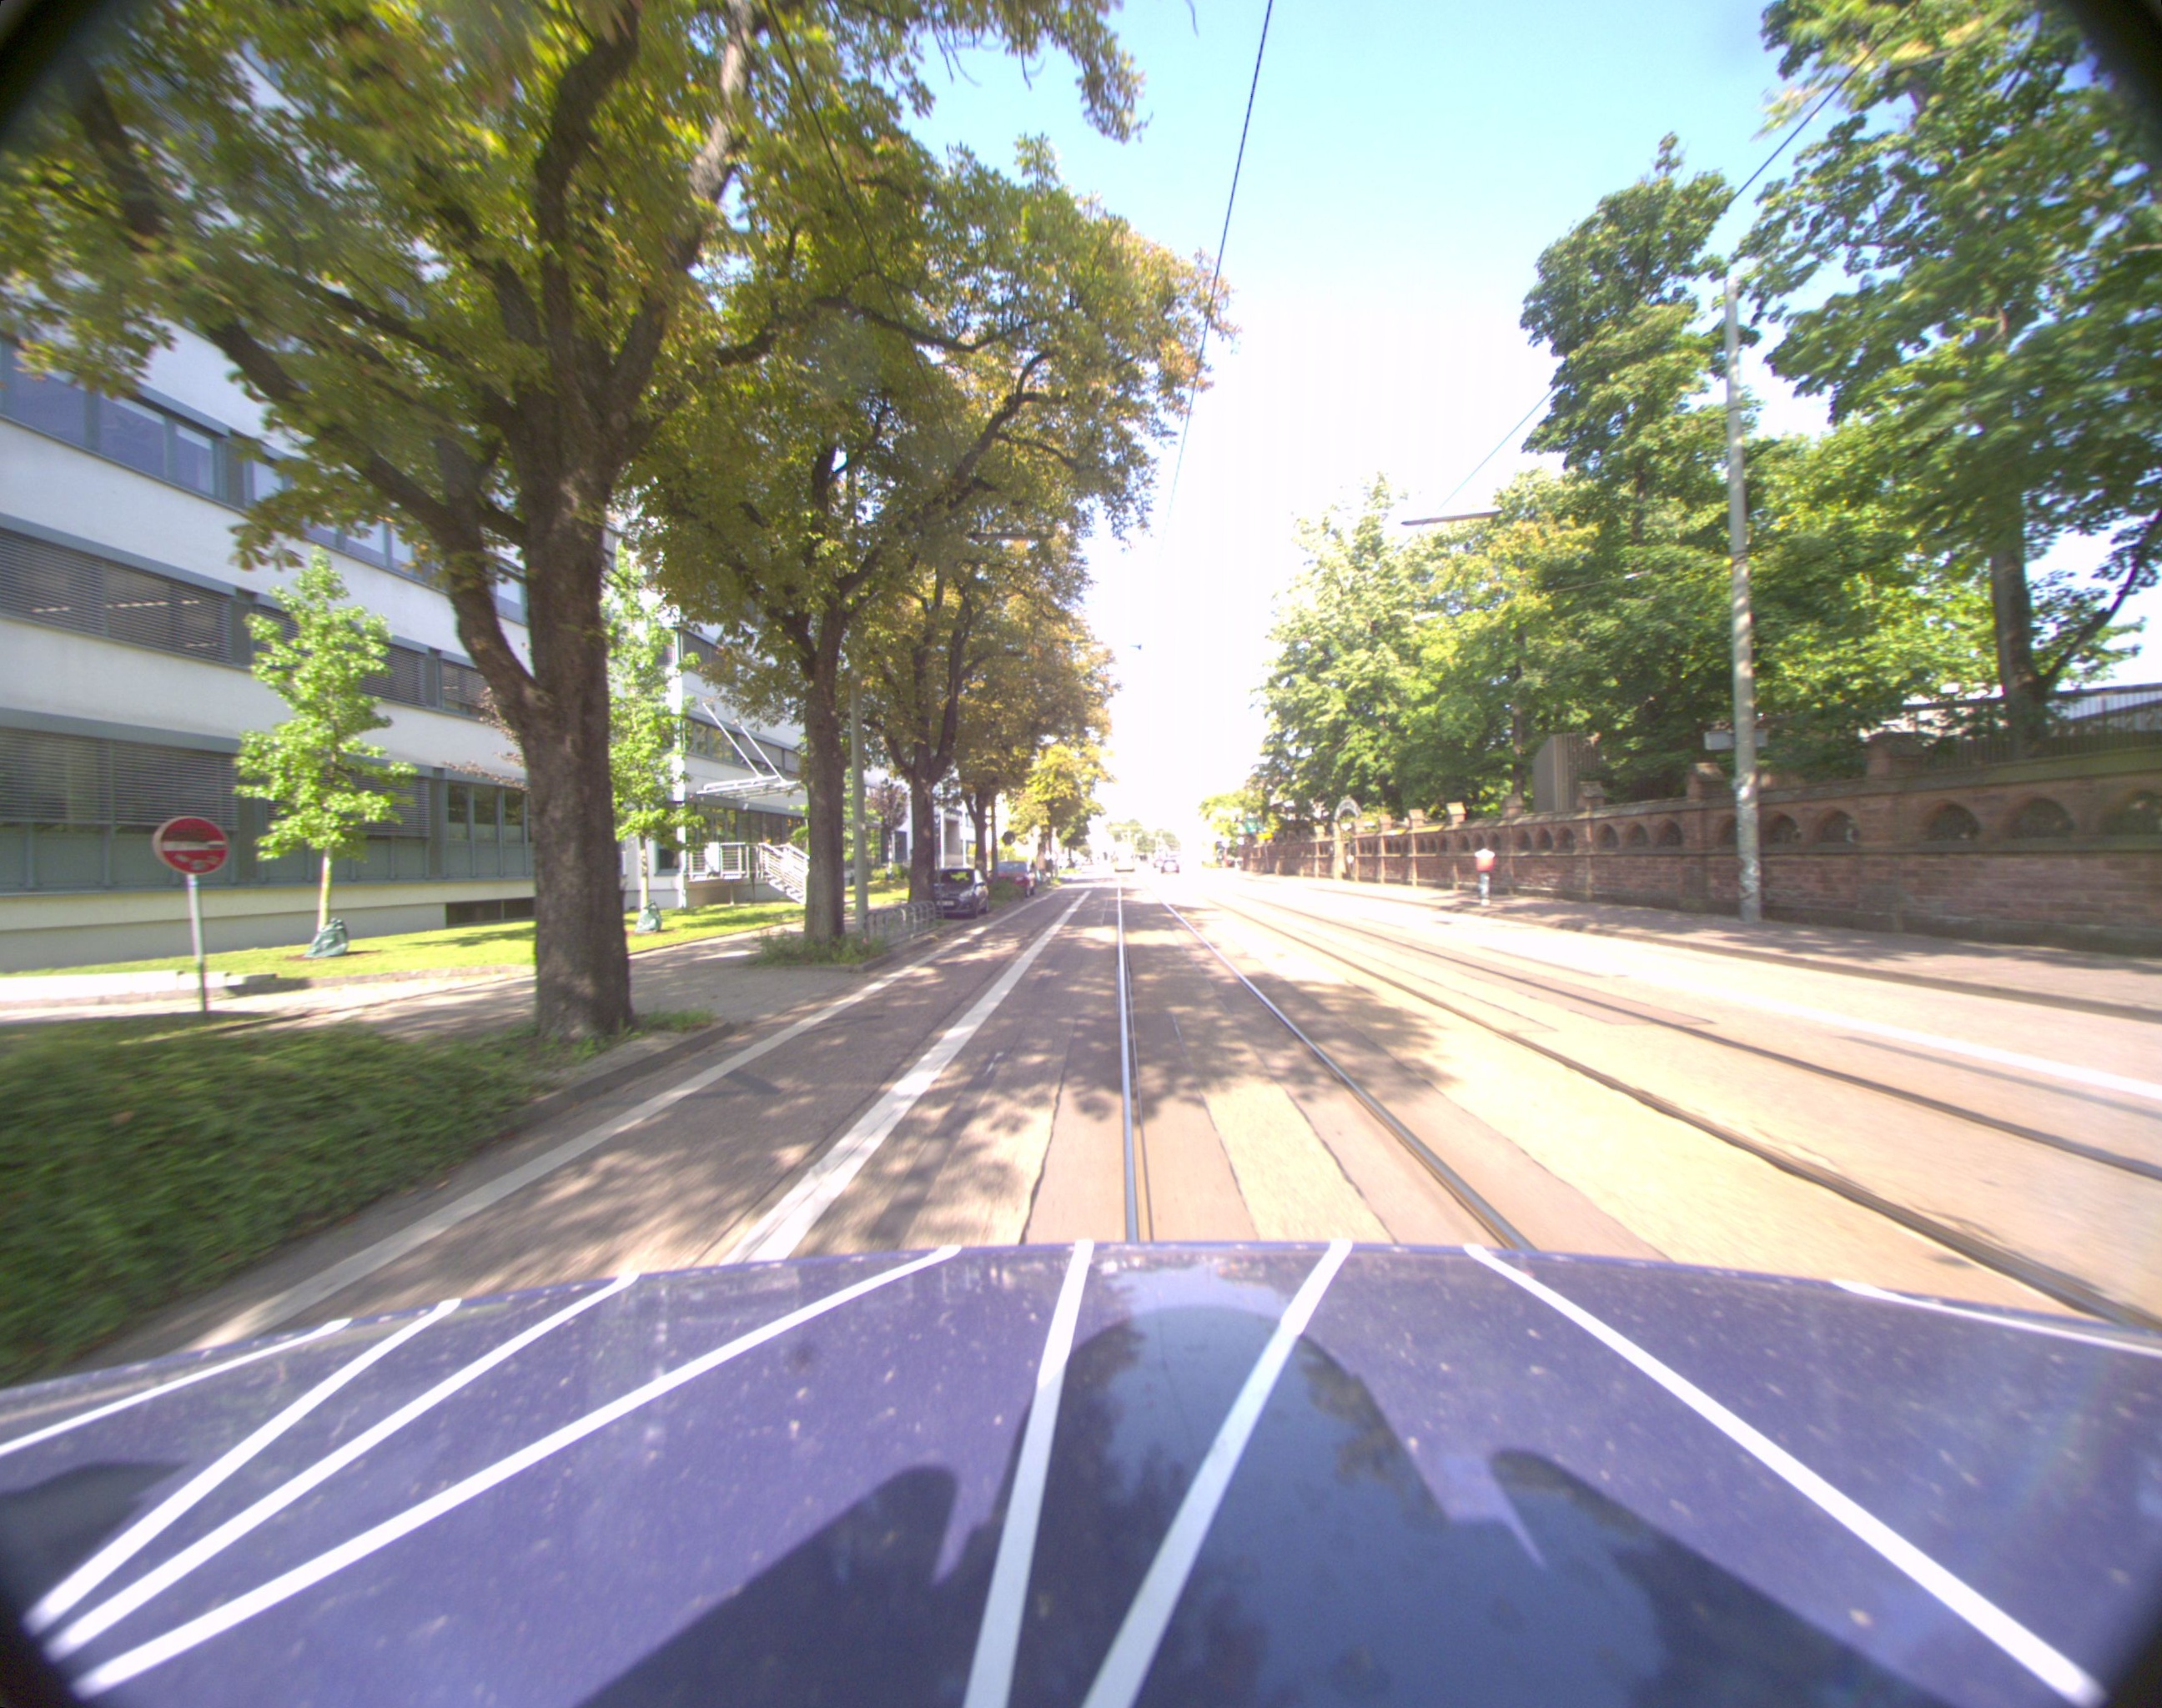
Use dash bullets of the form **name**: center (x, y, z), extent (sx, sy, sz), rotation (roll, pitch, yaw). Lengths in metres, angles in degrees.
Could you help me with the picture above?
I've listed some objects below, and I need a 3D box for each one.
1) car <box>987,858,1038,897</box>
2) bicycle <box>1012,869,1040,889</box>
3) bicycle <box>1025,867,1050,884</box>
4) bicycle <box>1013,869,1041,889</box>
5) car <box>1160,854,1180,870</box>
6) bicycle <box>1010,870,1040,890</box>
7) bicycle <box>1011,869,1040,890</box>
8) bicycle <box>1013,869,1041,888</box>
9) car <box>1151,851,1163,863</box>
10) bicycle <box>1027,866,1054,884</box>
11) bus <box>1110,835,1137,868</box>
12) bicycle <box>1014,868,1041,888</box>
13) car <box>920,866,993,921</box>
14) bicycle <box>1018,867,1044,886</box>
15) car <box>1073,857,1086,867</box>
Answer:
- **car**: center (-3.105, 1.039, 35.133), extent (1.866, 1.643, 4.184), rotation (0, 0, 2)
- **bicycle**: center (-2.893, 1.318, 40.035), extent (1.460, 1.009, 0.382), rotation (-1, 0, 0)
- **bicycle**: center (-2.607, 1.281, 45.621), extent (1.460, 1.009, 0.382), rotation (-1, 0, 0)
- **bicycle**: center (-2.889, 1.315, 40.486), extent (1.460, 1.009, 0.382), rotation (-1, 0, 0)
- **car**: center (8.607, 0.773, 73.702), extent (1.694, 1.433, 4.001), rotation (-1, 0, 3)
- **bicycle**: center (-2.861, 1.318, 38.766), extent (1.460, 1.009, 0.382), rotation (-1, 0, 0)
- **bicycle**: center (-2.872, 1.322, 39.189), extent (1.460, 1.009, 0.382), rotation (-1, 0, 0)
- **bicycle**: center (-2.907, 1.313, 40.938), extent (1.460, 1.009, 0.382), rotation (-1, 0, 0)
- **car**: center (11.965, 0.443, 118.902), extent (1.754, 1.718, 4.001), rotation (-2, 0, 6)
- **bicycle**: center (-2.443, 1.273, 46.091), extent (1.621, 1.009, 0.382), rotation (-1, 0, 0)
- **bus**: center (5.314, -0.363, 92.988), extent (2.900, 3.771, 9.321), rotation (-2, 0, 5)
- **bicycle**: center (-2.911, 1.311, 41.348), extent (1.460, 1.009, 0.382), rotation (-1, 0, 0)
- **car**: center (-3.684, 1.135, 23.001), extent (1.566, 1.433, 3.564), rotation (1, 0, 0)
- **bicycle**: center (-2.881, 1.301, 43.857), extent (1.460, 1.009, 0.382), rotation (-1, 0, 0)
- **car**: center (-0.202, 1.378, 131.336), extent (1.755, 1.597, 4.001), rotation (-2, 0, 6)
